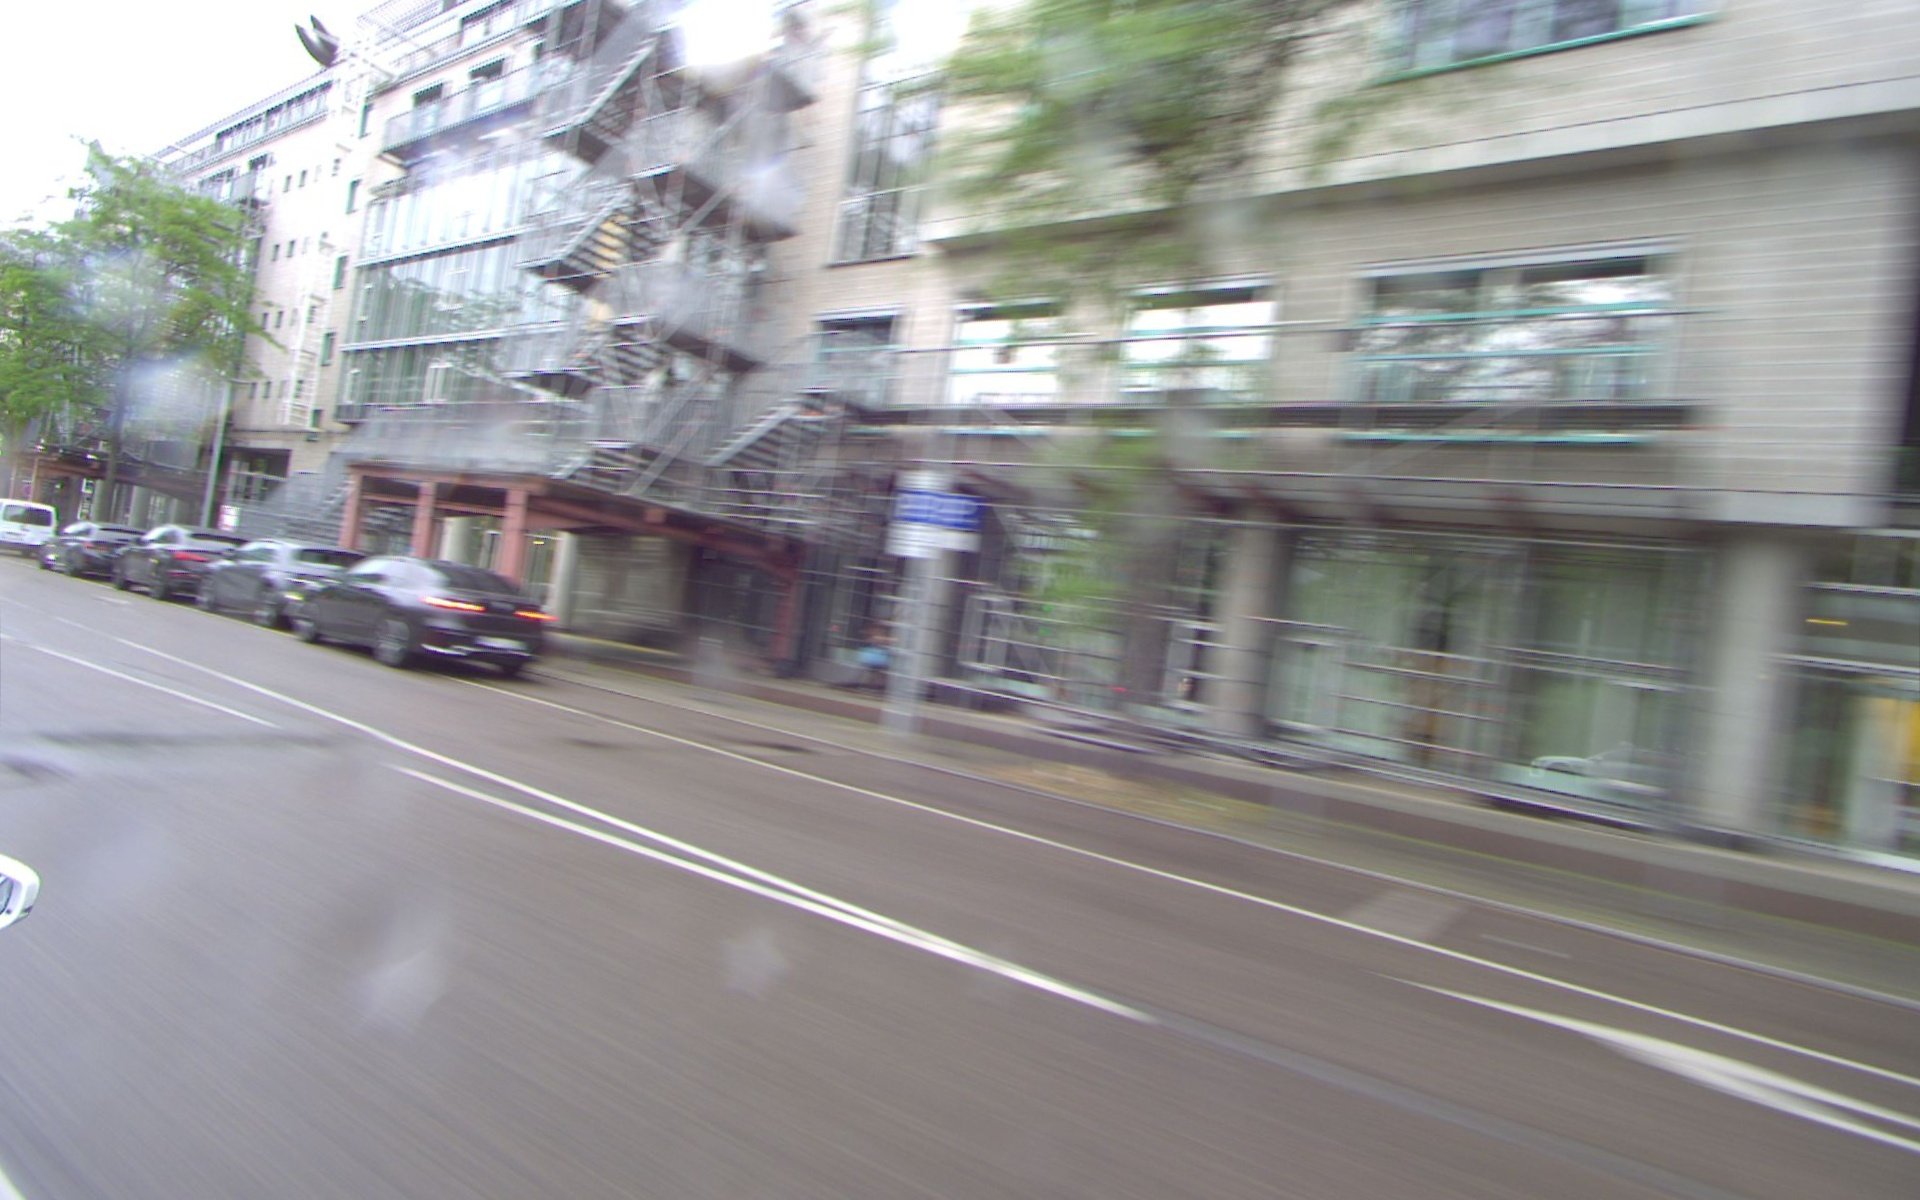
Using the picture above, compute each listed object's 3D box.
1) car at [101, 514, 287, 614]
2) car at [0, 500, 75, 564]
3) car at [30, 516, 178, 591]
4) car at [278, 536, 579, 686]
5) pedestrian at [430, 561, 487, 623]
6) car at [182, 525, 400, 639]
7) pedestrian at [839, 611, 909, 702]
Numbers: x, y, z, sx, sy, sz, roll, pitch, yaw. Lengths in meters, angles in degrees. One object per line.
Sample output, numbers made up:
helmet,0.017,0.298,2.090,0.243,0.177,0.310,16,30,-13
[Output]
car,-17.142,-0.839,22.438,4.789,1.665,1.994,6,-2,38
car,-31.581,-2.353,33.538,4.456,1.770,1.996,6,-2,35
car,-22.520,-1.248,26.404,4.847,1.454,1.870,6,-2,38
car,-8.207,0.100,15.292,5.211,1.619,1.994,6,-2,39
pedestrian,-14.354,-0.225,28.783,1.095,1.614,0.820,7,-2,31
car,-12.899,-0.375,19.308,4.521,1.619,1.863,6,-2,35
pedestrian,-1.662,1.093,19.380,0.908,1.614,0.705,7,-2,33
